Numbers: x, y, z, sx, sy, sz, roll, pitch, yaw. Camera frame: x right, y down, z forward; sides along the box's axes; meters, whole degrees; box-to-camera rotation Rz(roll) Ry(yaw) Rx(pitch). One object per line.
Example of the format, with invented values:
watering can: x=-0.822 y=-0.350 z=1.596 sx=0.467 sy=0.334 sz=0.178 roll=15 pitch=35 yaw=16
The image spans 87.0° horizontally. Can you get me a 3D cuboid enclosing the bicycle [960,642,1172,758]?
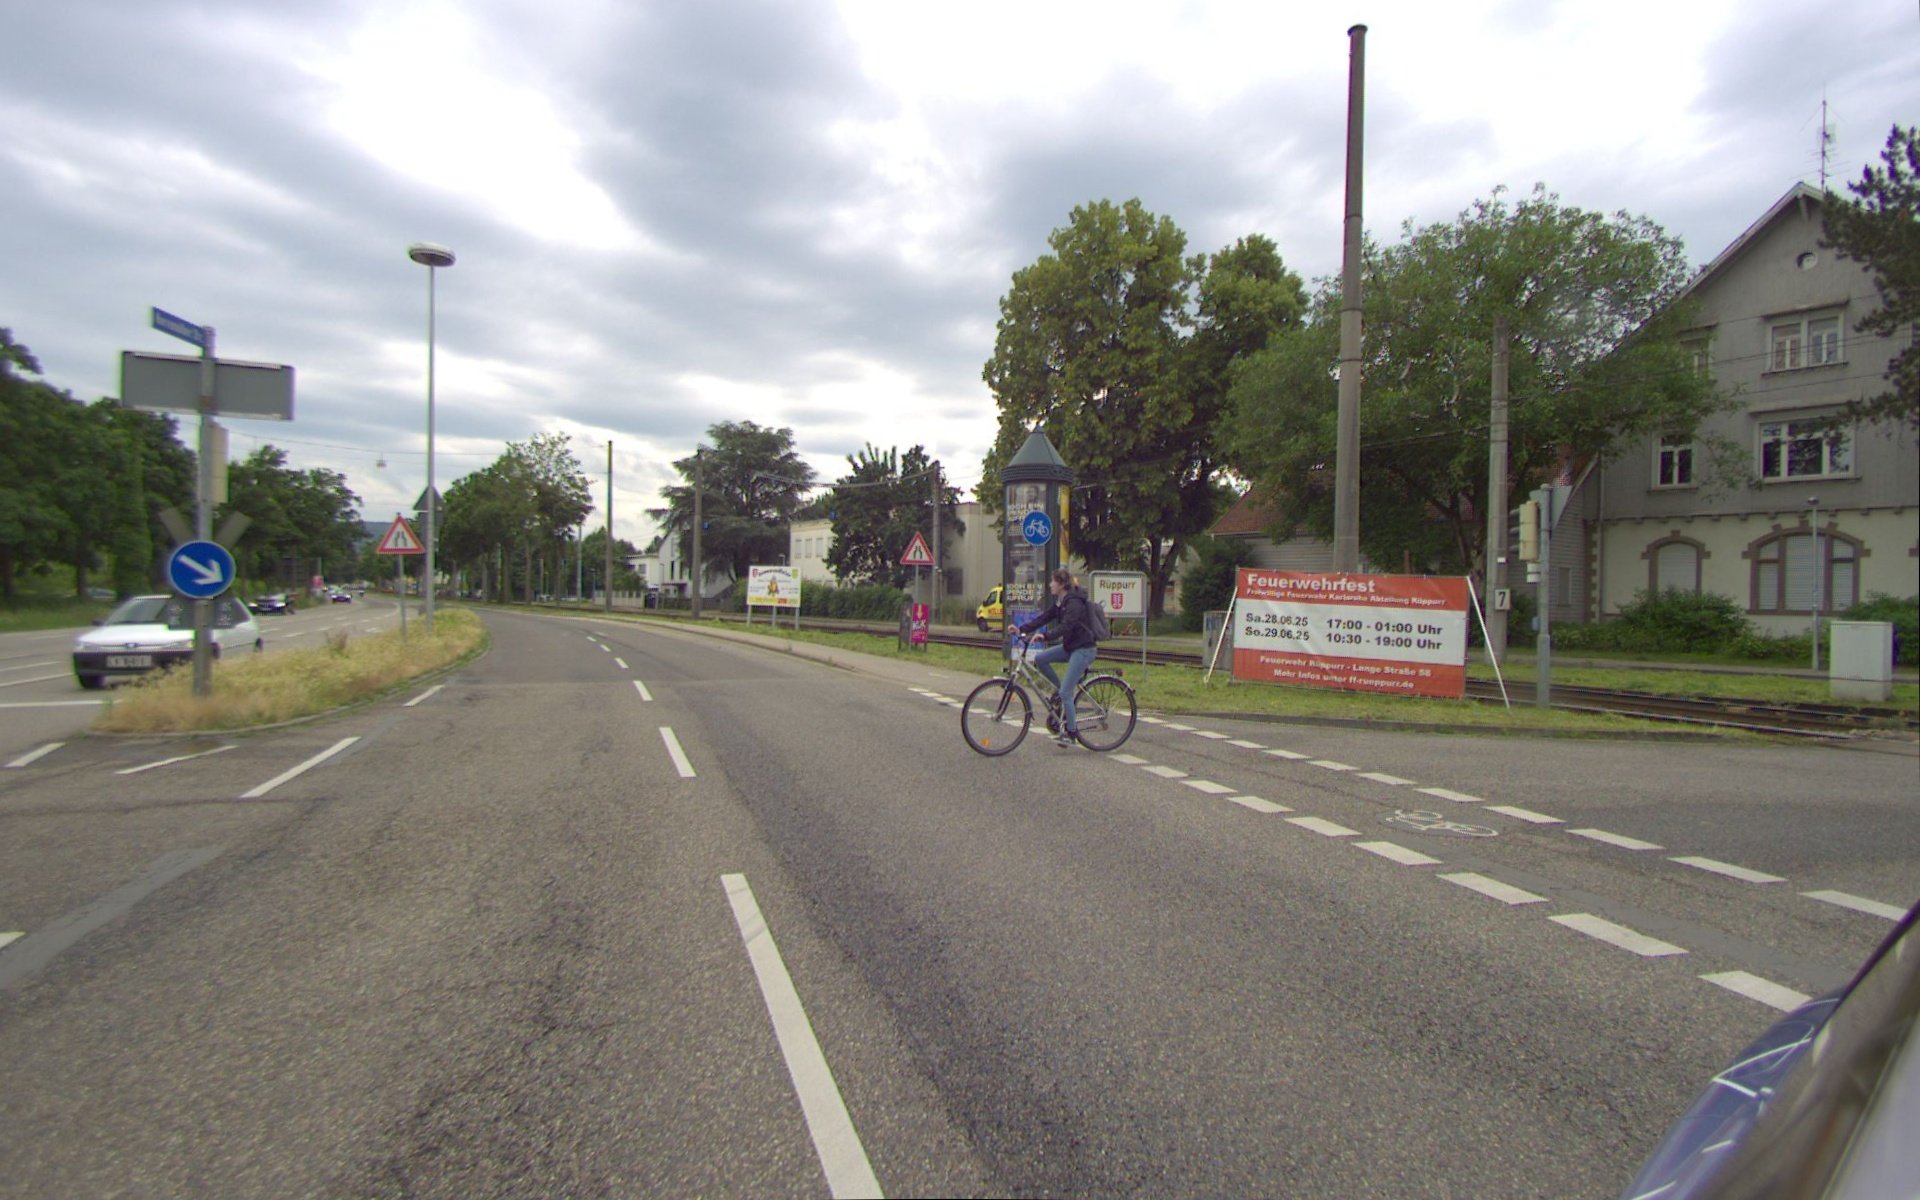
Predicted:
bicycle: x=0.997 y=0.894 z=9.328 sx=1.987 sy=0.993 sz=0.384 roll=1 pitch=0 yaw=-23

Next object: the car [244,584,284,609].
car: x=-43.455 y=-0.224 z=63.210 sx=1.627 sy=1.549 sz=3.895 roll=1 pitch=0 yaw=-28

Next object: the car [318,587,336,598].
car: x=-90.785 y=-1.076 z=145.122 sx=1.960 sy=1.677 sz=4.004 roll=0 pitch=1 yaw=-30

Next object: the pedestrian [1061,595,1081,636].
pedestrian: x=4.944 y=0.673 z=45.060 sx=0.625 sy=1.784 sz=0.574 roll=1 pitch=0 yaw=-43

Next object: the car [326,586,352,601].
car: x=-65.454 y=-0.685 z=106.668 sx=1.723 sy=1.594 sz=4.008 roll=1 pitch=0 yaw=-23

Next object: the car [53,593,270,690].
car: x=-12.834 y=0.585 z=16.563 sx=1.612 sy=1.374 sz=4.159 roll=1 pitch=0 yaw=-21

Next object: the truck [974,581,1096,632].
truck: x=3.506 y=0.256 z=48.955 sx=2.553 sy=2.322 sz=6.416 roll=1 pitch=0 yaw=-32

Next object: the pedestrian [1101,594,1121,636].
pedestrian: x=6.515 y=0.658 z=43.587 sx=0.625 sy=1.784 sz=0.574 roll=1 pitch=0 yaw=-43

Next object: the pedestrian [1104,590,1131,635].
pedestrian: x=6.702 y=0.523 z=43.072 sx=0.855 sy=1.878 sz=0.681 roll=2 pitch=-1 yaw=-20

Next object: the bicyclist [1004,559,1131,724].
bicyclist: x=0.979 y=0.379 z=9.287 sx=0.941 sy=1.444 sz=0.624 roll=1 pitch=-4 yaw=-23

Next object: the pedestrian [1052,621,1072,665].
pedestrian: x=4.486 y=1.886 z=44.317 sx=0.704 sy=1.863 sz=0.604 roll=1 pitch=0 yaw=23
